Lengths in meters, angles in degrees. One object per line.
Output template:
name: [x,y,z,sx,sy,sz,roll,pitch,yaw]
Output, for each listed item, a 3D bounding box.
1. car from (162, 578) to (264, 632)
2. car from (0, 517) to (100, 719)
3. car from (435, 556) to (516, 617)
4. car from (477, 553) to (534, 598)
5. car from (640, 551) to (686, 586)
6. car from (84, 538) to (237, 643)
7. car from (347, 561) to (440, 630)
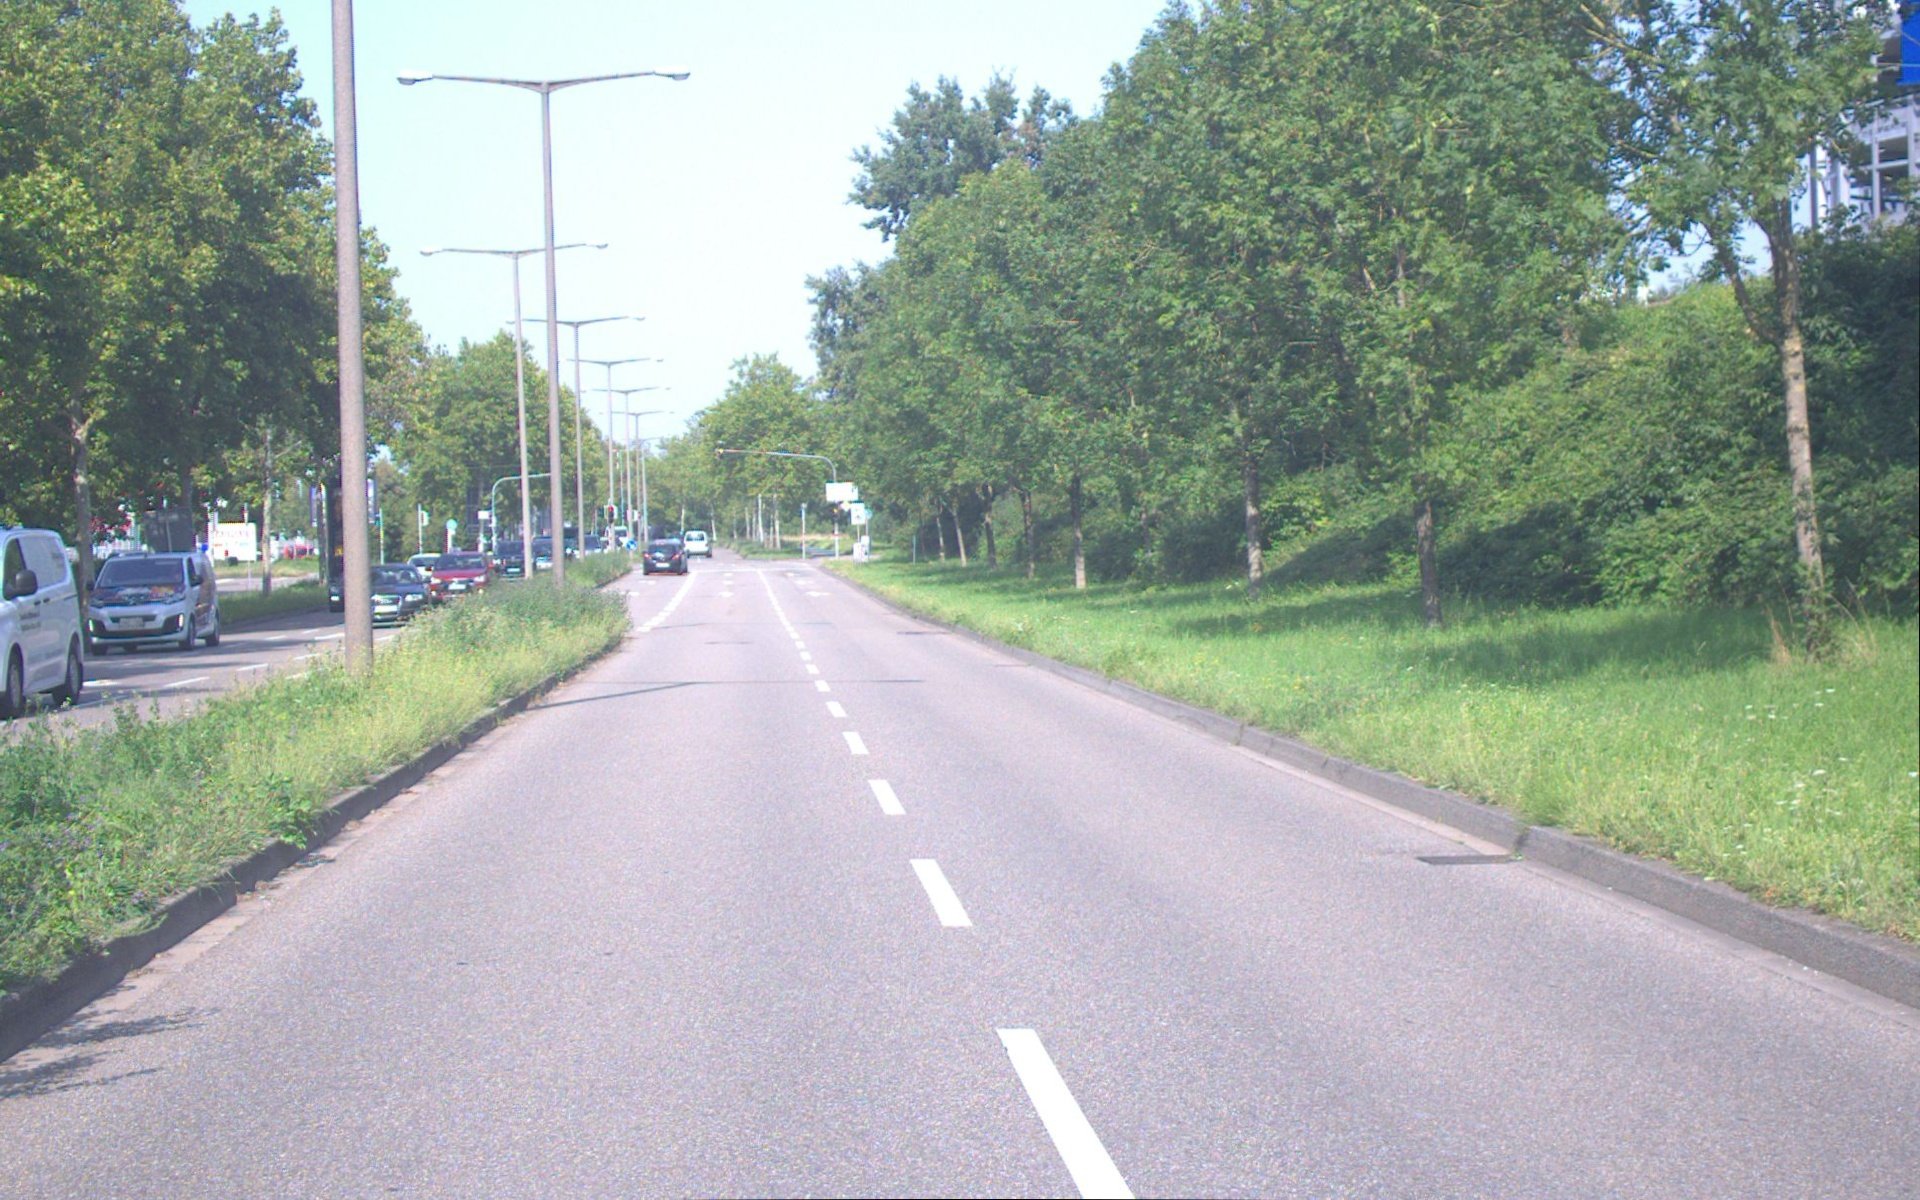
car: [-19.146,0.109,88.276,1.790,1.258,4.095,-3,1,-2]
car: [-10.390,0.155,35.564,1.993,1.947,5.037,-1,1,-4]
car: [-14.215,-0.408,101.054,1.953,1.718,4.587,-1,1,-3]
car: [-19.203,-1.039,145.372,1.993,1.753,4.478,-3,1,-3]
car: [-13.105,-1.394,151.977,1.692,1.481,4.000,-1,1,-1]
car: [-15.371,-0.209,66.318,1.984,1.852,4.970,-3,1,-3]
car: [-13.084,-0.123,79.588,1.746,1.474,4.588,-3,1,-5]
